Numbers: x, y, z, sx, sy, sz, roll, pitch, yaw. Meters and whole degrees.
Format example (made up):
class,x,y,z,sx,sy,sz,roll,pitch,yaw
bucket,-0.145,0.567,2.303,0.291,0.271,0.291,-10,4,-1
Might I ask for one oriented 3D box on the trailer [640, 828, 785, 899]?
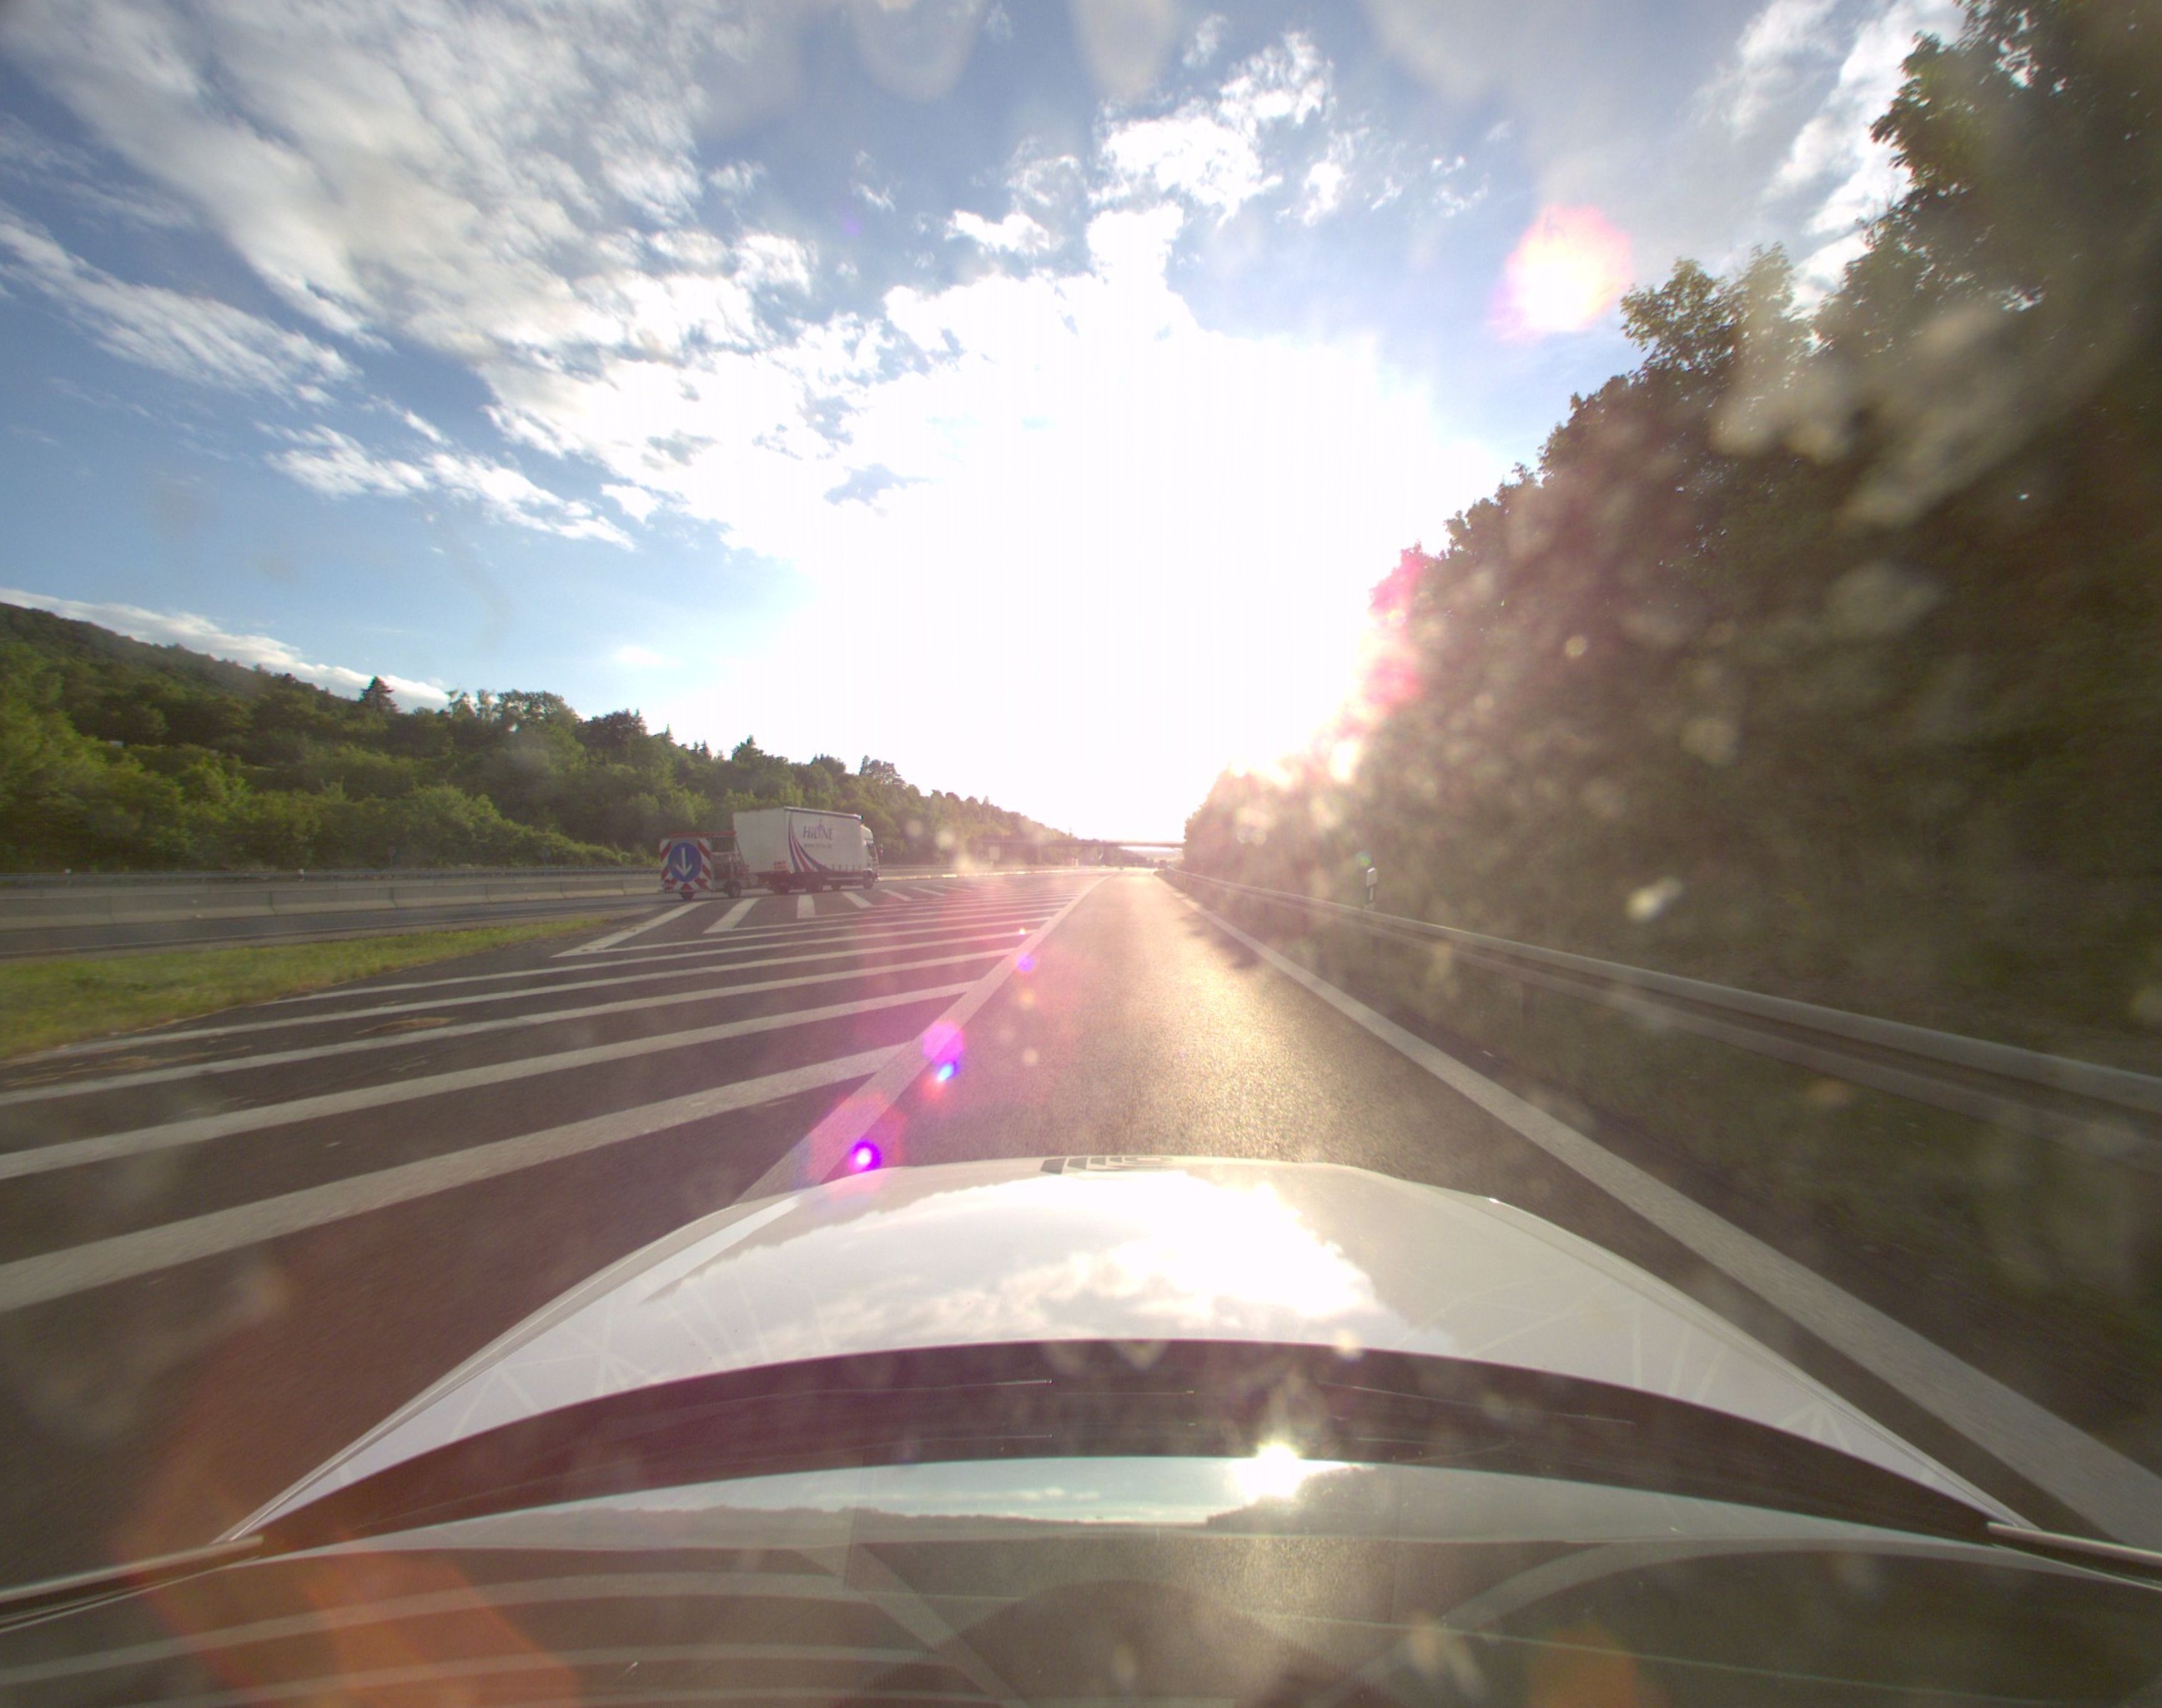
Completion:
class,x,y,z,sx,sy,sz,roll,pitch,yaw
trailer,-14.512,0.362,32.451,2.901,2.578,4.832,0,0,12

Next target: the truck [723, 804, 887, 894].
class,x,y,z,sx,sy,sz,roll,pitch,yaw
truck,-12.938,-0.189,39.532,2.900,3.789,9.698,0,0,13
